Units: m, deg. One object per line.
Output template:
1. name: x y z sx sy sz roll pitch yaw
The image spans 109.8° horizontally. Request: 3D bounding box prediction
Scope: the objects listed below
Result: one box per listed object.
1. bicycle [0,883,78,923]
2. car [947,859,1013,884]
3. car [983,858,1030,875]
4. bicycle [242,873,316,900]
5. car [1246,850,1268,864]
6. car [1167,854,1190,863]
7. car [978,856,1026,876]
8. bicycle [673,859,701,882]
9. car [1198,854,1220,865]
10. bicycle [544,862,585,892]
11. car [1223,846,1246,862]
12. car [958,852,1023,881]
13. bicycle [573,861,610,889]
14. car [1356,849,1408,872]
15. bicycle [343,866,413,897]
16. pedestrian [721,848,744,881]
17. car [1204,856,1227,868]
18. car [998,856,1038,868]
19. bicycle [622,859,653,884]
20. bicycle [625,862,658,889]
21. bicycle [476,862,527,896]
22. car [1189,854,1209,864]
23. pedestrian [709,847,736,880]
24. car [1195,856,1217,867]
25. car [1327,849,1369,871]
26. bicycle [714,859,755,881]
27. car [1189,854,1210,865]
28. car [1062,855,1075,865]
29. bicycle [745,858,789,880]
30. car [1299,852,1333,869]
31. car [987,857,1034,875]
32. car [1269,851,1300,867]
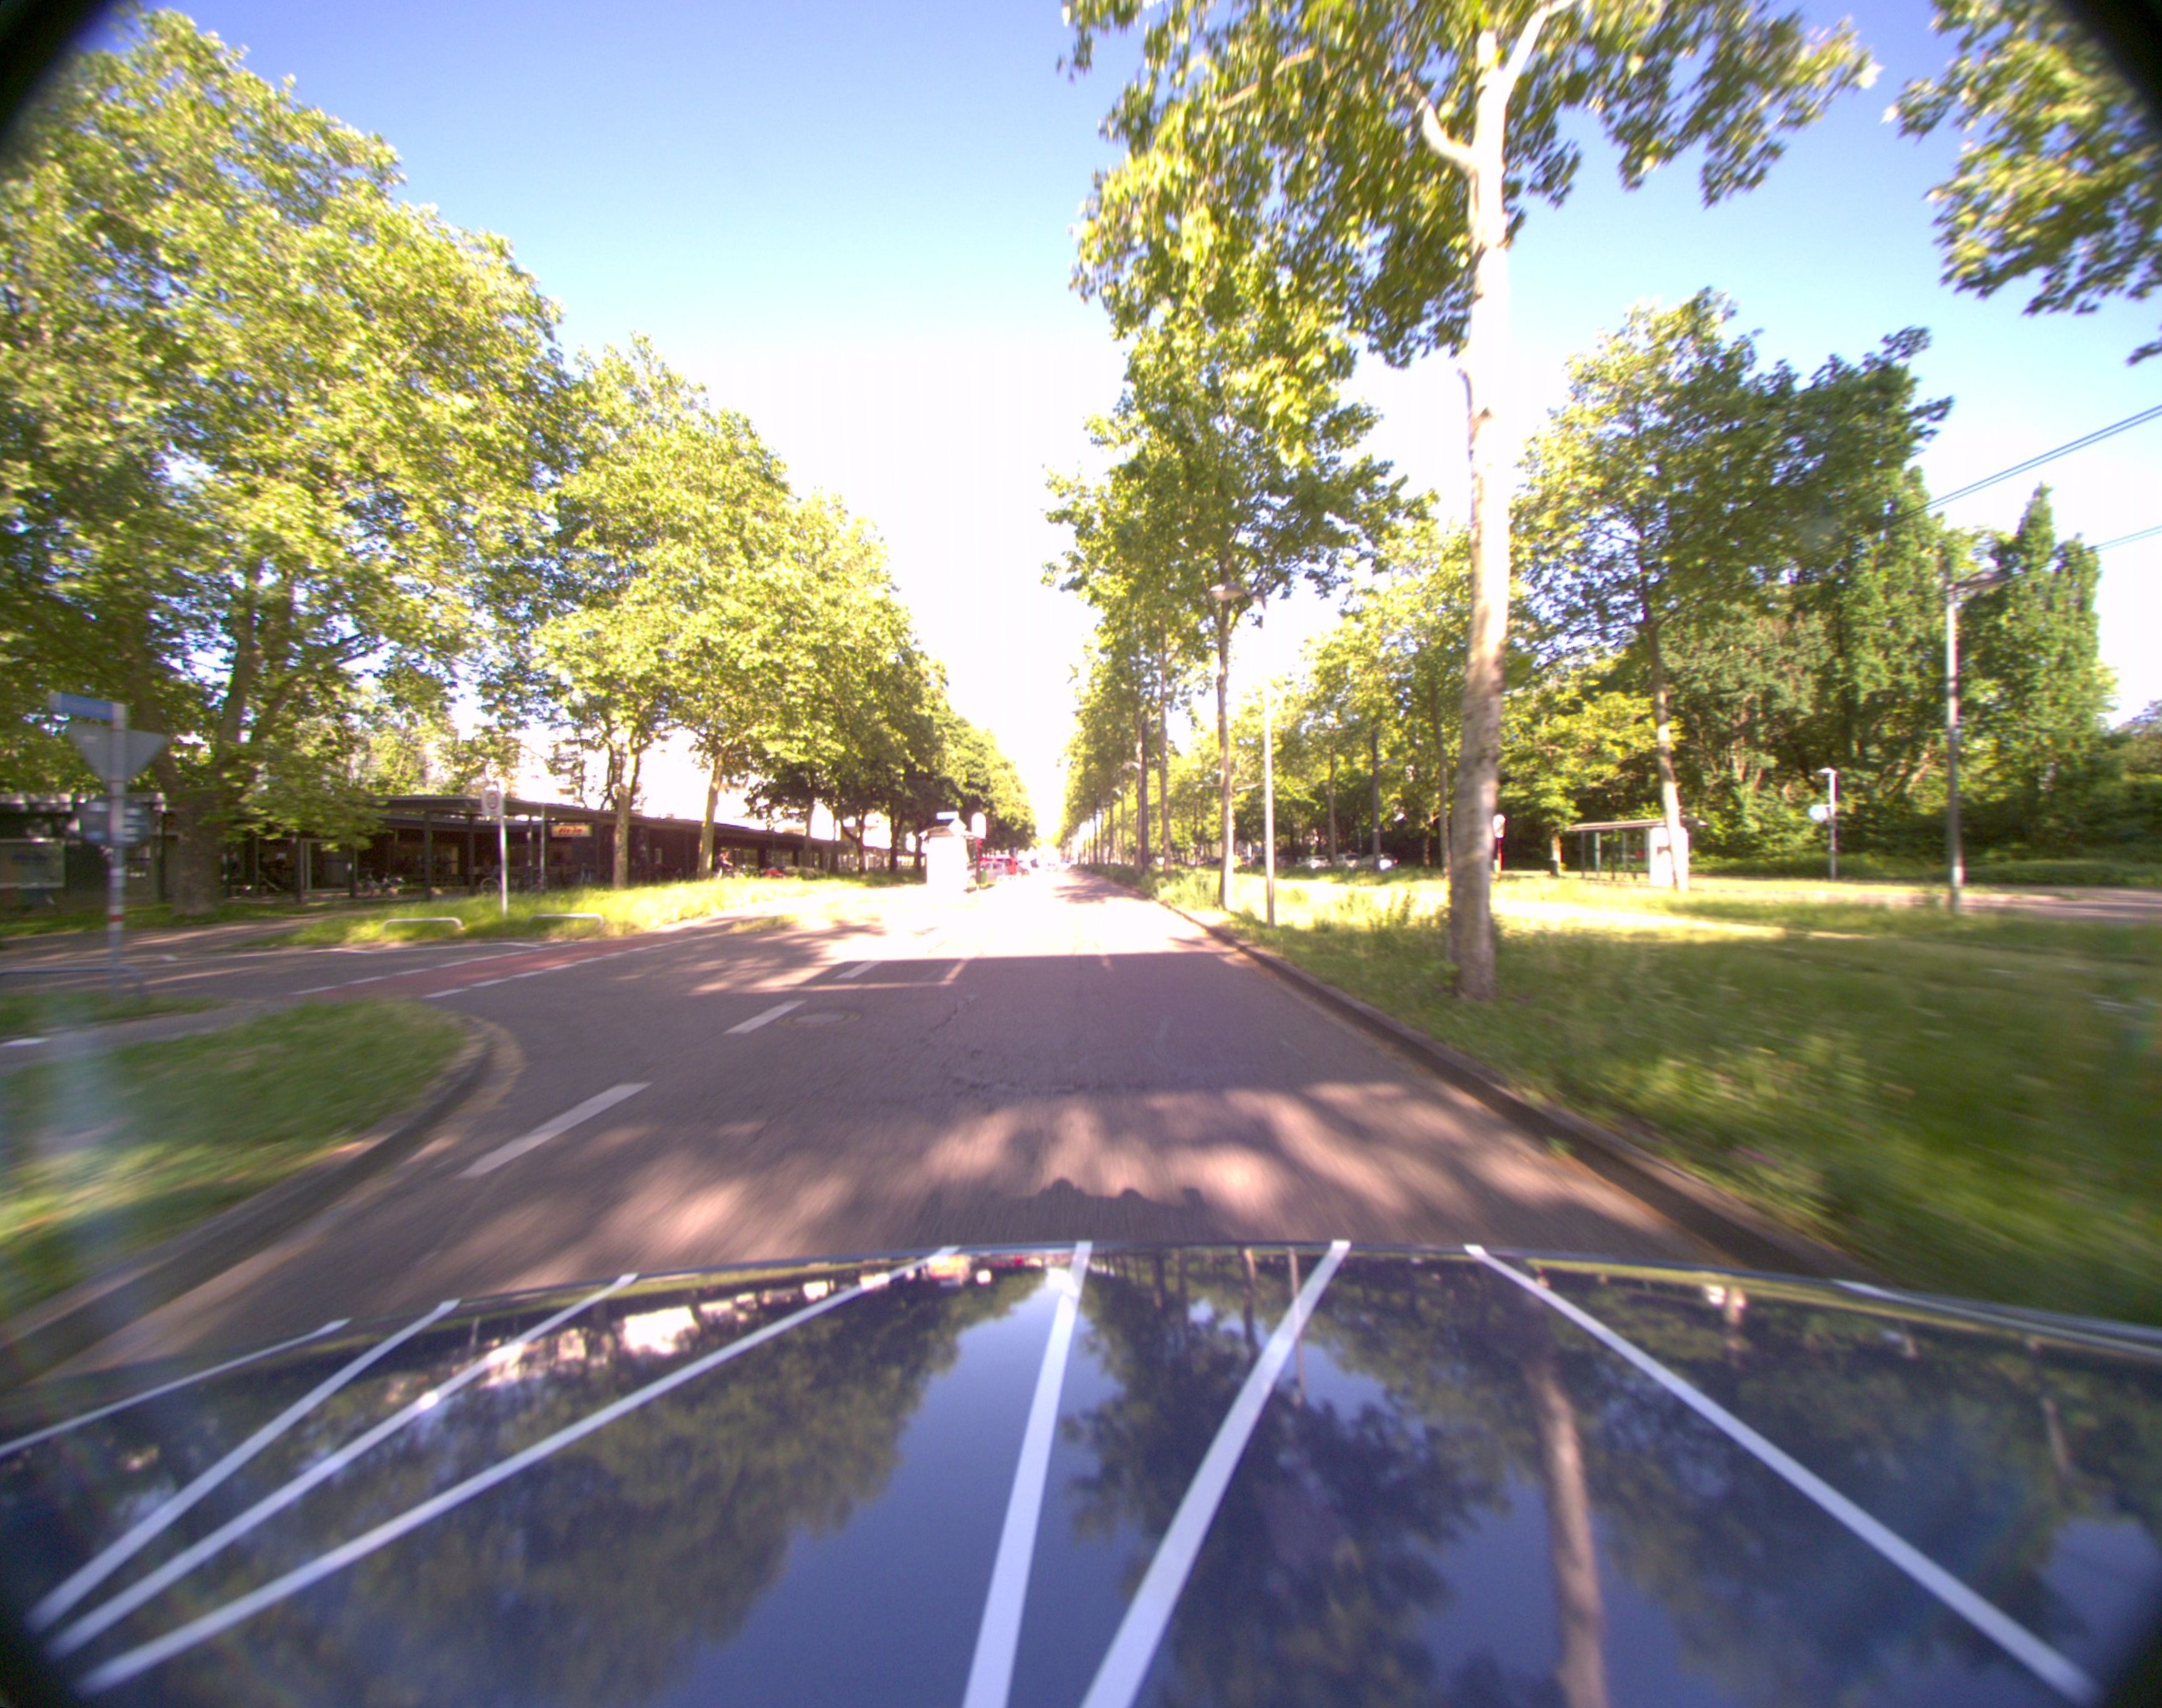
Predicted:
1. bicycle: -31.108 1.444 22.327 0.506 0.955 2.193 0 3 -6
2. car: -6.091 1.027 46.052 3.837 1.464 1.514 0 0 -44
3. car: -6.542 1.079 66.923 1.681 1.395 4.096 1 0 42
4. bicycle: -29.491 1.195 27.959 1.806 0.949 0.710 1 0 -7
5. car: 20.946 0.373 90.499 1.545 1.480 3.569 -5 0 -1
6. car: 20.037 0.942 155.618 4.507 1.699 1.895 -3 1 -33
7. car: -6.529 0.967 63.156 1.695 1.581 3.731 1 0 42
8. bicycle: -22.159 0.905 42.740 0.577 1.246 1.805 -2 1 -1
9. car: 22.017 0.950 130.236 1.895 1.699 4.508 -2 1 35
10. bicycle: -23.126 1.016 34.055 0.577 1.246 1.805 -2 1 -1
11. car: 20.695 -0.003 102.680 1.987 2.045 4.277 -5 1 -2
12. car: -5.926 0.799 49.917 1.763 1.832 3.960 1 0 45
13. bicycle: -23.247 1.003 36.129 0.577 1.246 1.805 -2 1 -1
14. car: 22.177 0.473 56.154 1.902 1.480 4.626 -5 1 -1
15. bicycle: -26.130 1.010 28.279 1.806 1.109 0.710 -1 2 -7
16. pedestrian: -19.890 0.590 43.390 0.967 1.829 0.952 -1 1 -9
17. car: 20.632 1.249 116.363 1.884 1.558 4.007 -2 1 35
18. car: -7.466 0.937 90.245 1.994 1.417 4.687 1 0 42
19. bicycle: -23.697 0.912 40.637 0.577 1.246 1.805 -2 1 -1
20. bicycle: -21.867 1.048 37.834 0.577 1.246 1.805 -2 1 -1
21. bicycle: -22.892 0.954 30.061 0.577 1.246 1.805 -2 1 -1
22. car: 21.593 0.945 139.047 1.895 1.699 4.508 -2 1 35
23. pedestrian: -18.974 0.497 40.225 1.131 1.698 0.732 -1 1 -9
24. car: 20.449 1.189 124.311 1.884 1.558 4.007 -2 1 35
25. car: 21.953 0.440 62.655 1.820 1.587 4.189 -4 1 -1
26. bicycle: -18.536 0.858 40.633 2.069 1.151 0.562 0 1 14
27. car: 20.729 0.996 132.673 1.895 1.699 4.508 -2 1 35
28. car: -2.129 1.007 127.929 1.897 1.623 4.502 -2 0 2
29. bicycle: -16.390 0.775 39.686 2.073 1.151 0.561 0 1 -10
30. car: 21.574 0.546 69.828 1.723 1.410 4.023 -5 0 -1
31. car: -6.910 1.141 74.507 4.311 1.666 1.862 -1 0 -44
32. car: 21.440 0.483 80.098 1.843 1.480 4.178 -5 0 -3
